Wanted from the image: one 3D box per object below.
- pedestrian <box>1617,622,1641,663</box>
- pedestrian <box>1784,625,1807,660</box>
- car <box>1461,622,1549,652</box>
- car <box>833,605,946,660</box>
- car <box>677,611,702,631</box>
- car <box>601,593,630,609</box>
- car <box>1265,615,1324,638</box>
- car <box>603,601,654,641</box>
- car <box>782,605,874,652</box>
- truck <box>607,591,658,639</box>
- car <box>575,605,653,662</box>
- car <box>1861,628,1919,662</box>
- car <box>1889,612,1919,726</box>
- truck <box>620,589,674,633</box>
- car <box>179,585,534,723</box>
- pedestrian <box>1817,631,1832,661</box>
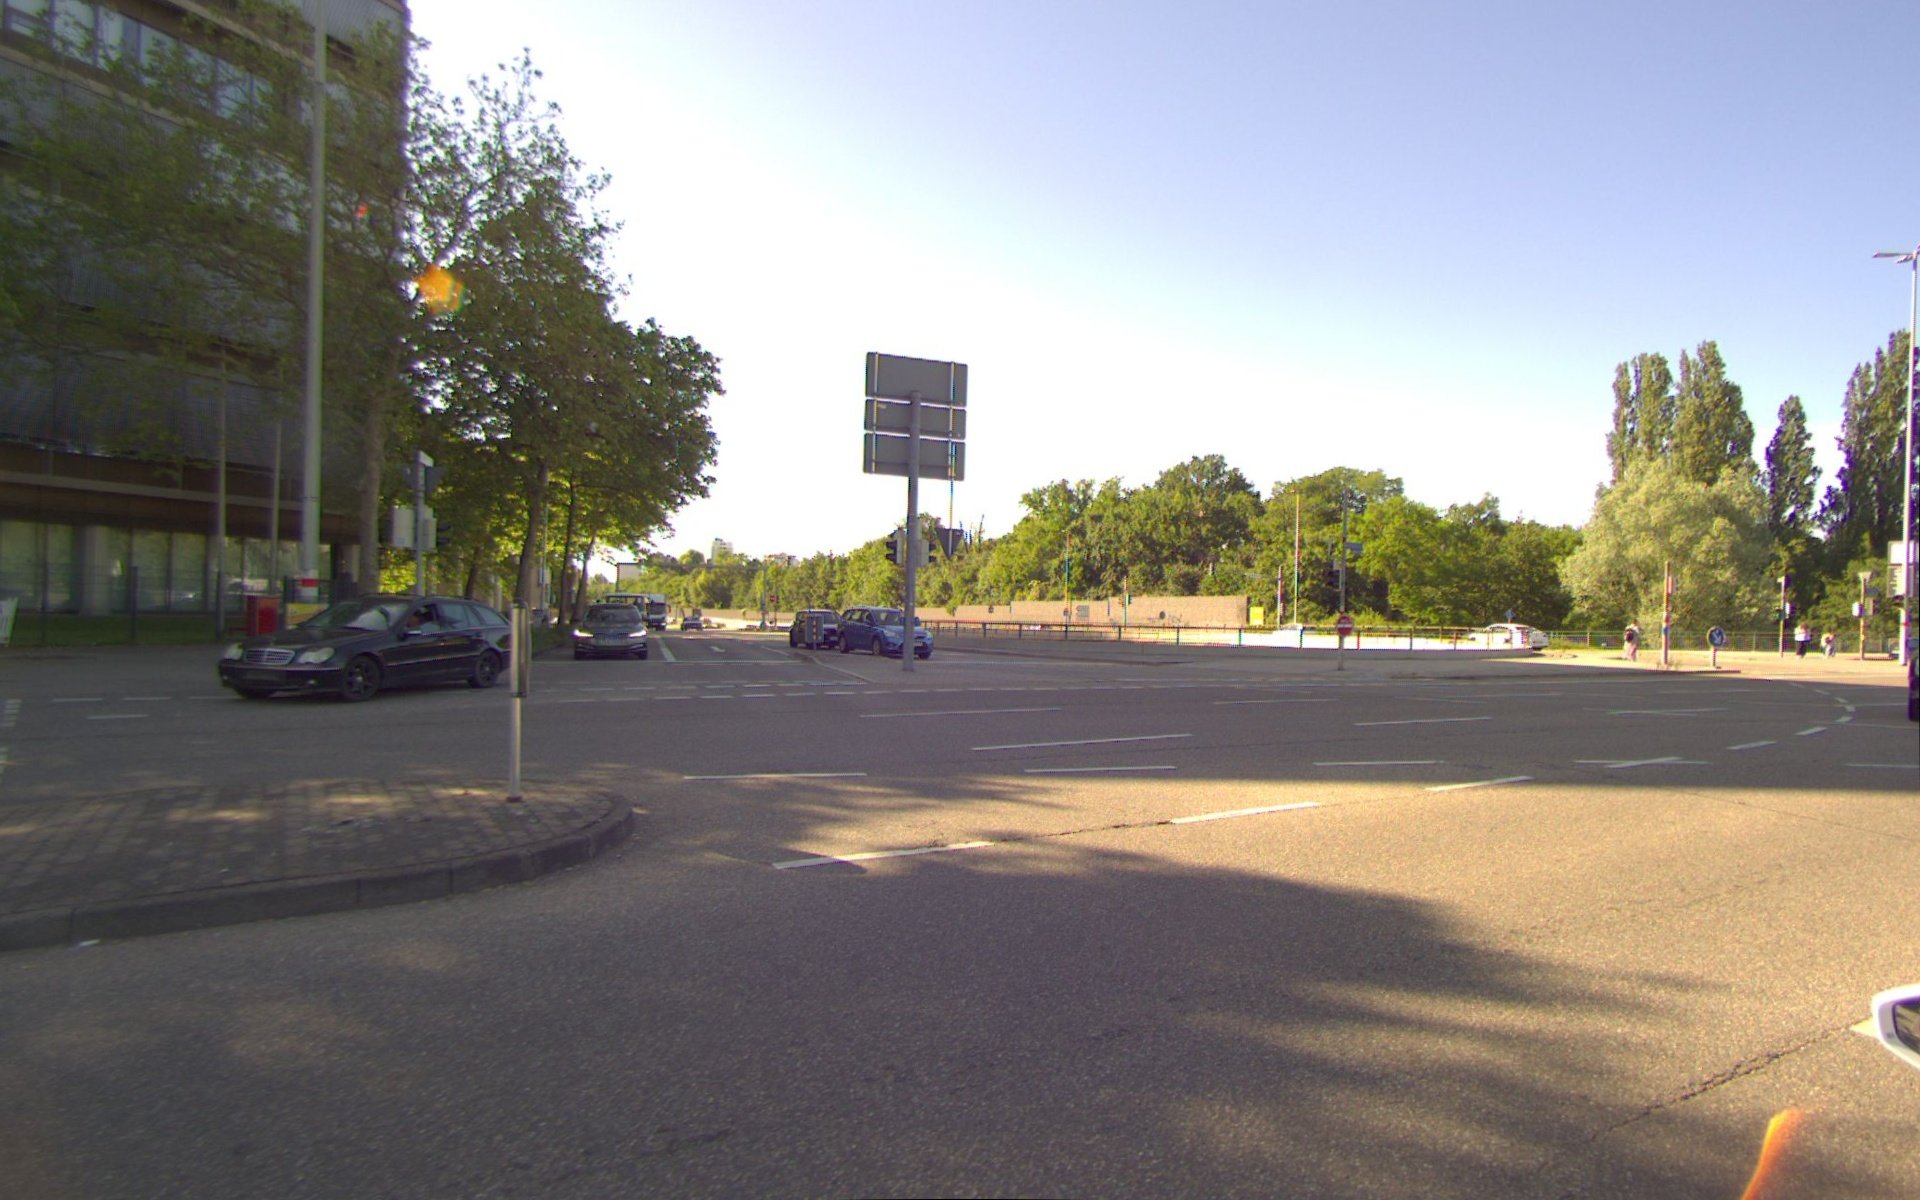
[{"bbox_3d":[25.125,1.579,37.715,0.671,1.482,0.699,1,0,40],"label":"pedestrian"},{"bbox_3d":[37.982,1.939,45.670,0.699,1.568,0.727,1,-1,31],"label":"pedestrian"},{"bbox_3d":[28.967,1.971,53.522,1.754,1.433,4.311,-2,-2,-11],"label":"car"},{"bbox_3d":[-2.299,0.974,31.386,1.927,1.561,4.426,2,-1,-27],"label":"car"},{"bbox_3d":[-26.166,2.003,97.176,1.716,1.706,4.029,4,0,-23],"label":"car"},{"bbox_3d":[-37.253,0.089,108.493,1.797,1.722,4.154,2,0,-36],"label":"car"},{"bbox_3d":[24.206,1.903,72.725,1.971,1.528,3.979,1,-1,-22],"label":"car"},{"bbox_3d":[-14.851,0.923,45.188,1.849,1.666,4.495,1,0,-15],"label":"car"},{"bbox_3d":[-4.860,0.988,36.476,1.927,1.561,4.426,2,-1,-27],"label":"car"},{"bbox_3d":[-17.673,0.778,54.549,2.128,2.391,7.492,1,0,-15],"label":"truck"},{"bbox_3d":[-9.326,0.860,27.185,1.851,1.376,4.491,0,-1,-19],"label":"car"},{"bbox_3d":[50.752,2.445,53.305,3.919,1.646,1.902,4,0,8],"label":"car"},{"bbox_3d":[16.626,1.119,16.274,4.163,1.732,1.858,2,-1,-41],"label":"car"},{"bbox_3d":[-30.378,0.962,97.164,3.801,3.847,9.284,1,1,-25],"label":"truck"},{"bbox_3d":[-8.401,0.680,14.659,1.912,1.643,4.788,1,0,6],"label":"car"},{"bbox_3d":[47.066,2.502,54.680,0.548,1.568,0.575,0,-2,31],"label":"pedestrian"}]
